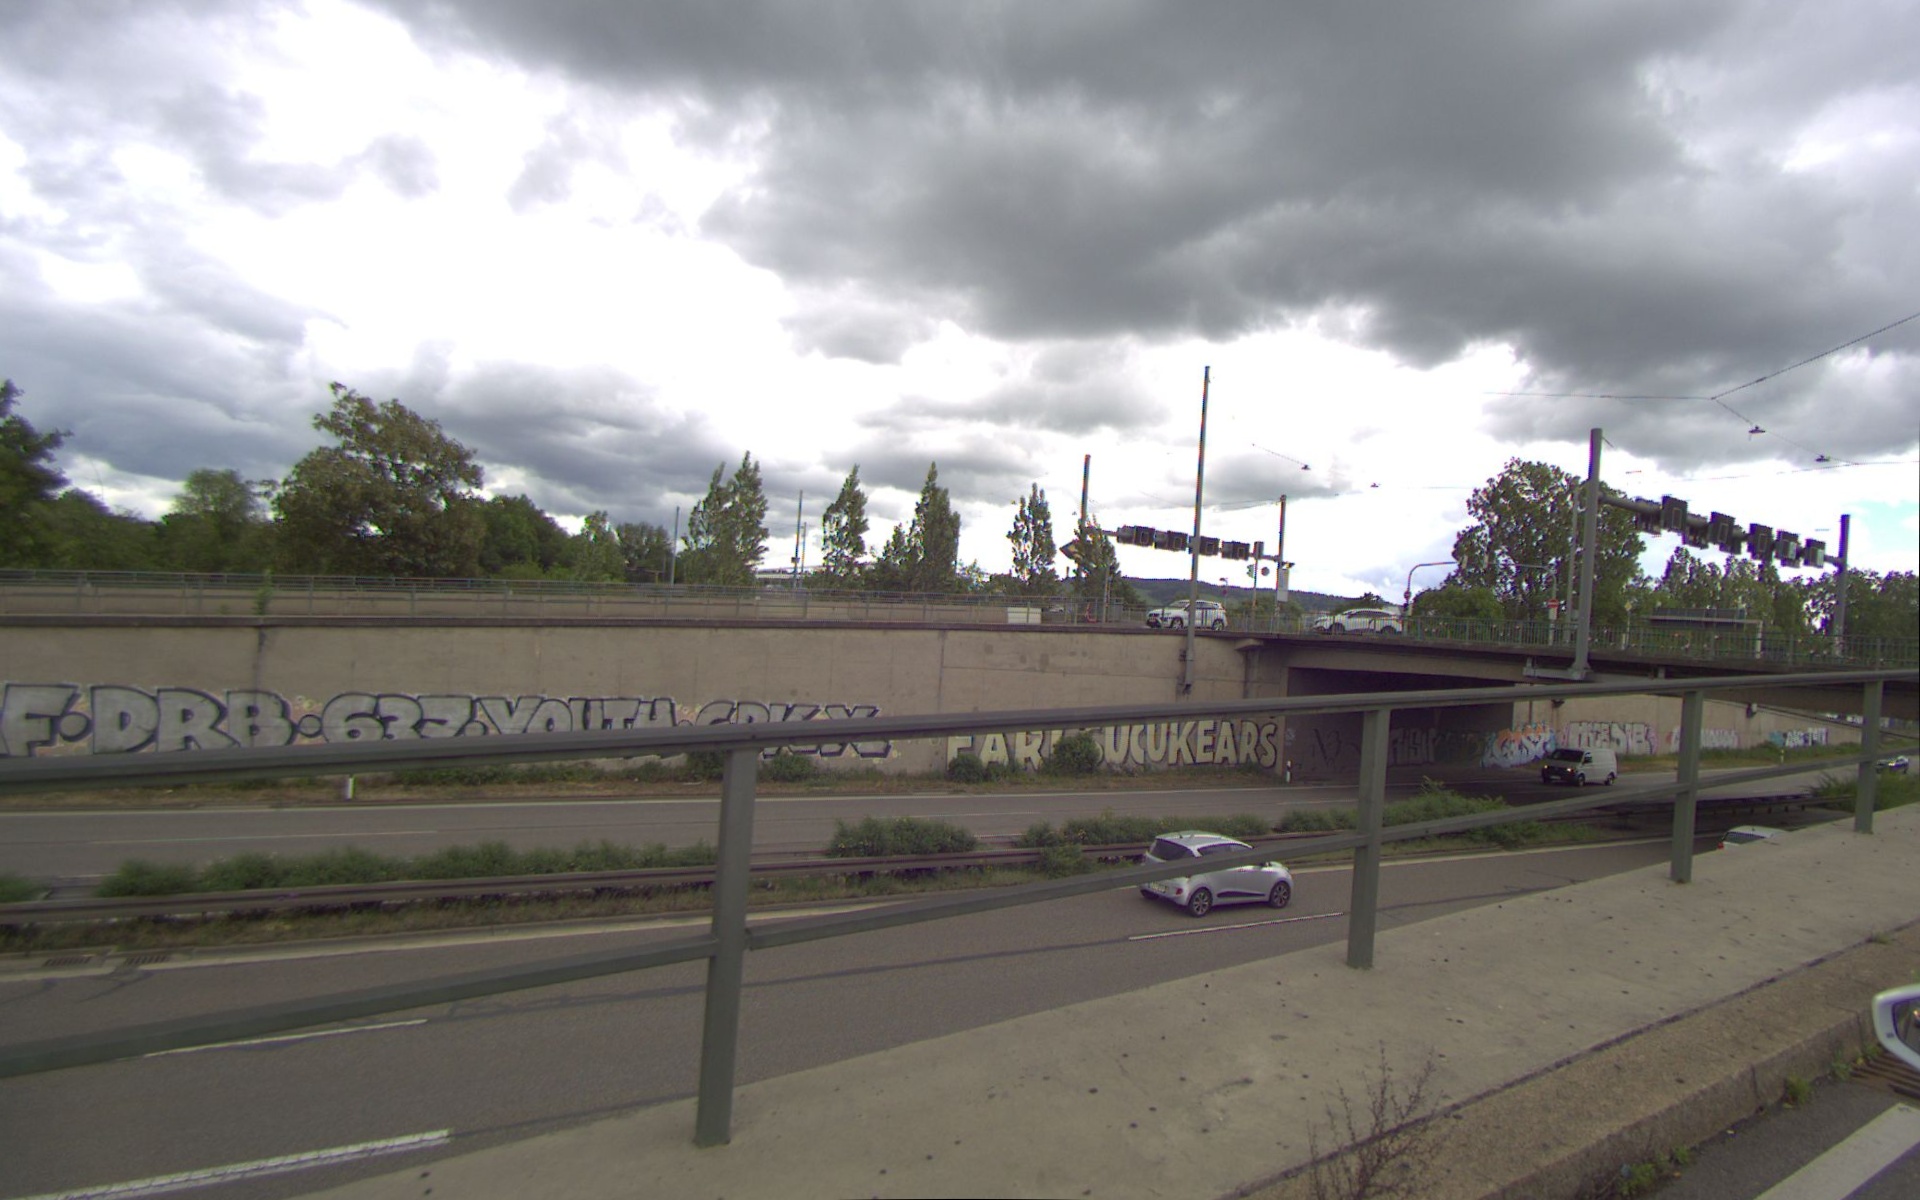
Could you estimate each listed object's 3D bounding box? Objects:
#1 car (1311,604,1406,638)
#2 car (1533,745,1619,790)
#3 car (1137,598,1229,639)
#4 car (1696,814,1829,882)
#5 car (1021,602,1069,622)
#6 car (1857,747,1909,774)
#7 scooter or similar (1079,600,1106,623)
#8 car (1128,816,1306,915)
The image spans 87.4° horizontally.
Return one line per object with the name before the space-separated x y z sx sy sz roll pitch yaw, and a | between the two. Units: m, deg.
car | 20.576 1.052 52.071 4.258 1.597 1.840 2 0 10
car | 33.777 9.116 55.007 5.125 2.094 1.981 5 -2 -33
car | 11.090 0.917 49.923 4.160 1.895 1.986 2 0 -28
car | 24.060 7.363 30.081 4.118 1.470 1.734 5 -2 -30
car | 6.295 0.899 74.838 1.538 1.372 3.858 2 0 -32
car | 70.979 12.334 77.235 4.505 1.761 1.904 5 -3 -33
scooter or similar | 7.075 0.621 53.600 1.403 1.108 0.539 4 -2 -36
car | 5.613 5.700 21.853 3.641 1.573 1.549 5 -2 -30
